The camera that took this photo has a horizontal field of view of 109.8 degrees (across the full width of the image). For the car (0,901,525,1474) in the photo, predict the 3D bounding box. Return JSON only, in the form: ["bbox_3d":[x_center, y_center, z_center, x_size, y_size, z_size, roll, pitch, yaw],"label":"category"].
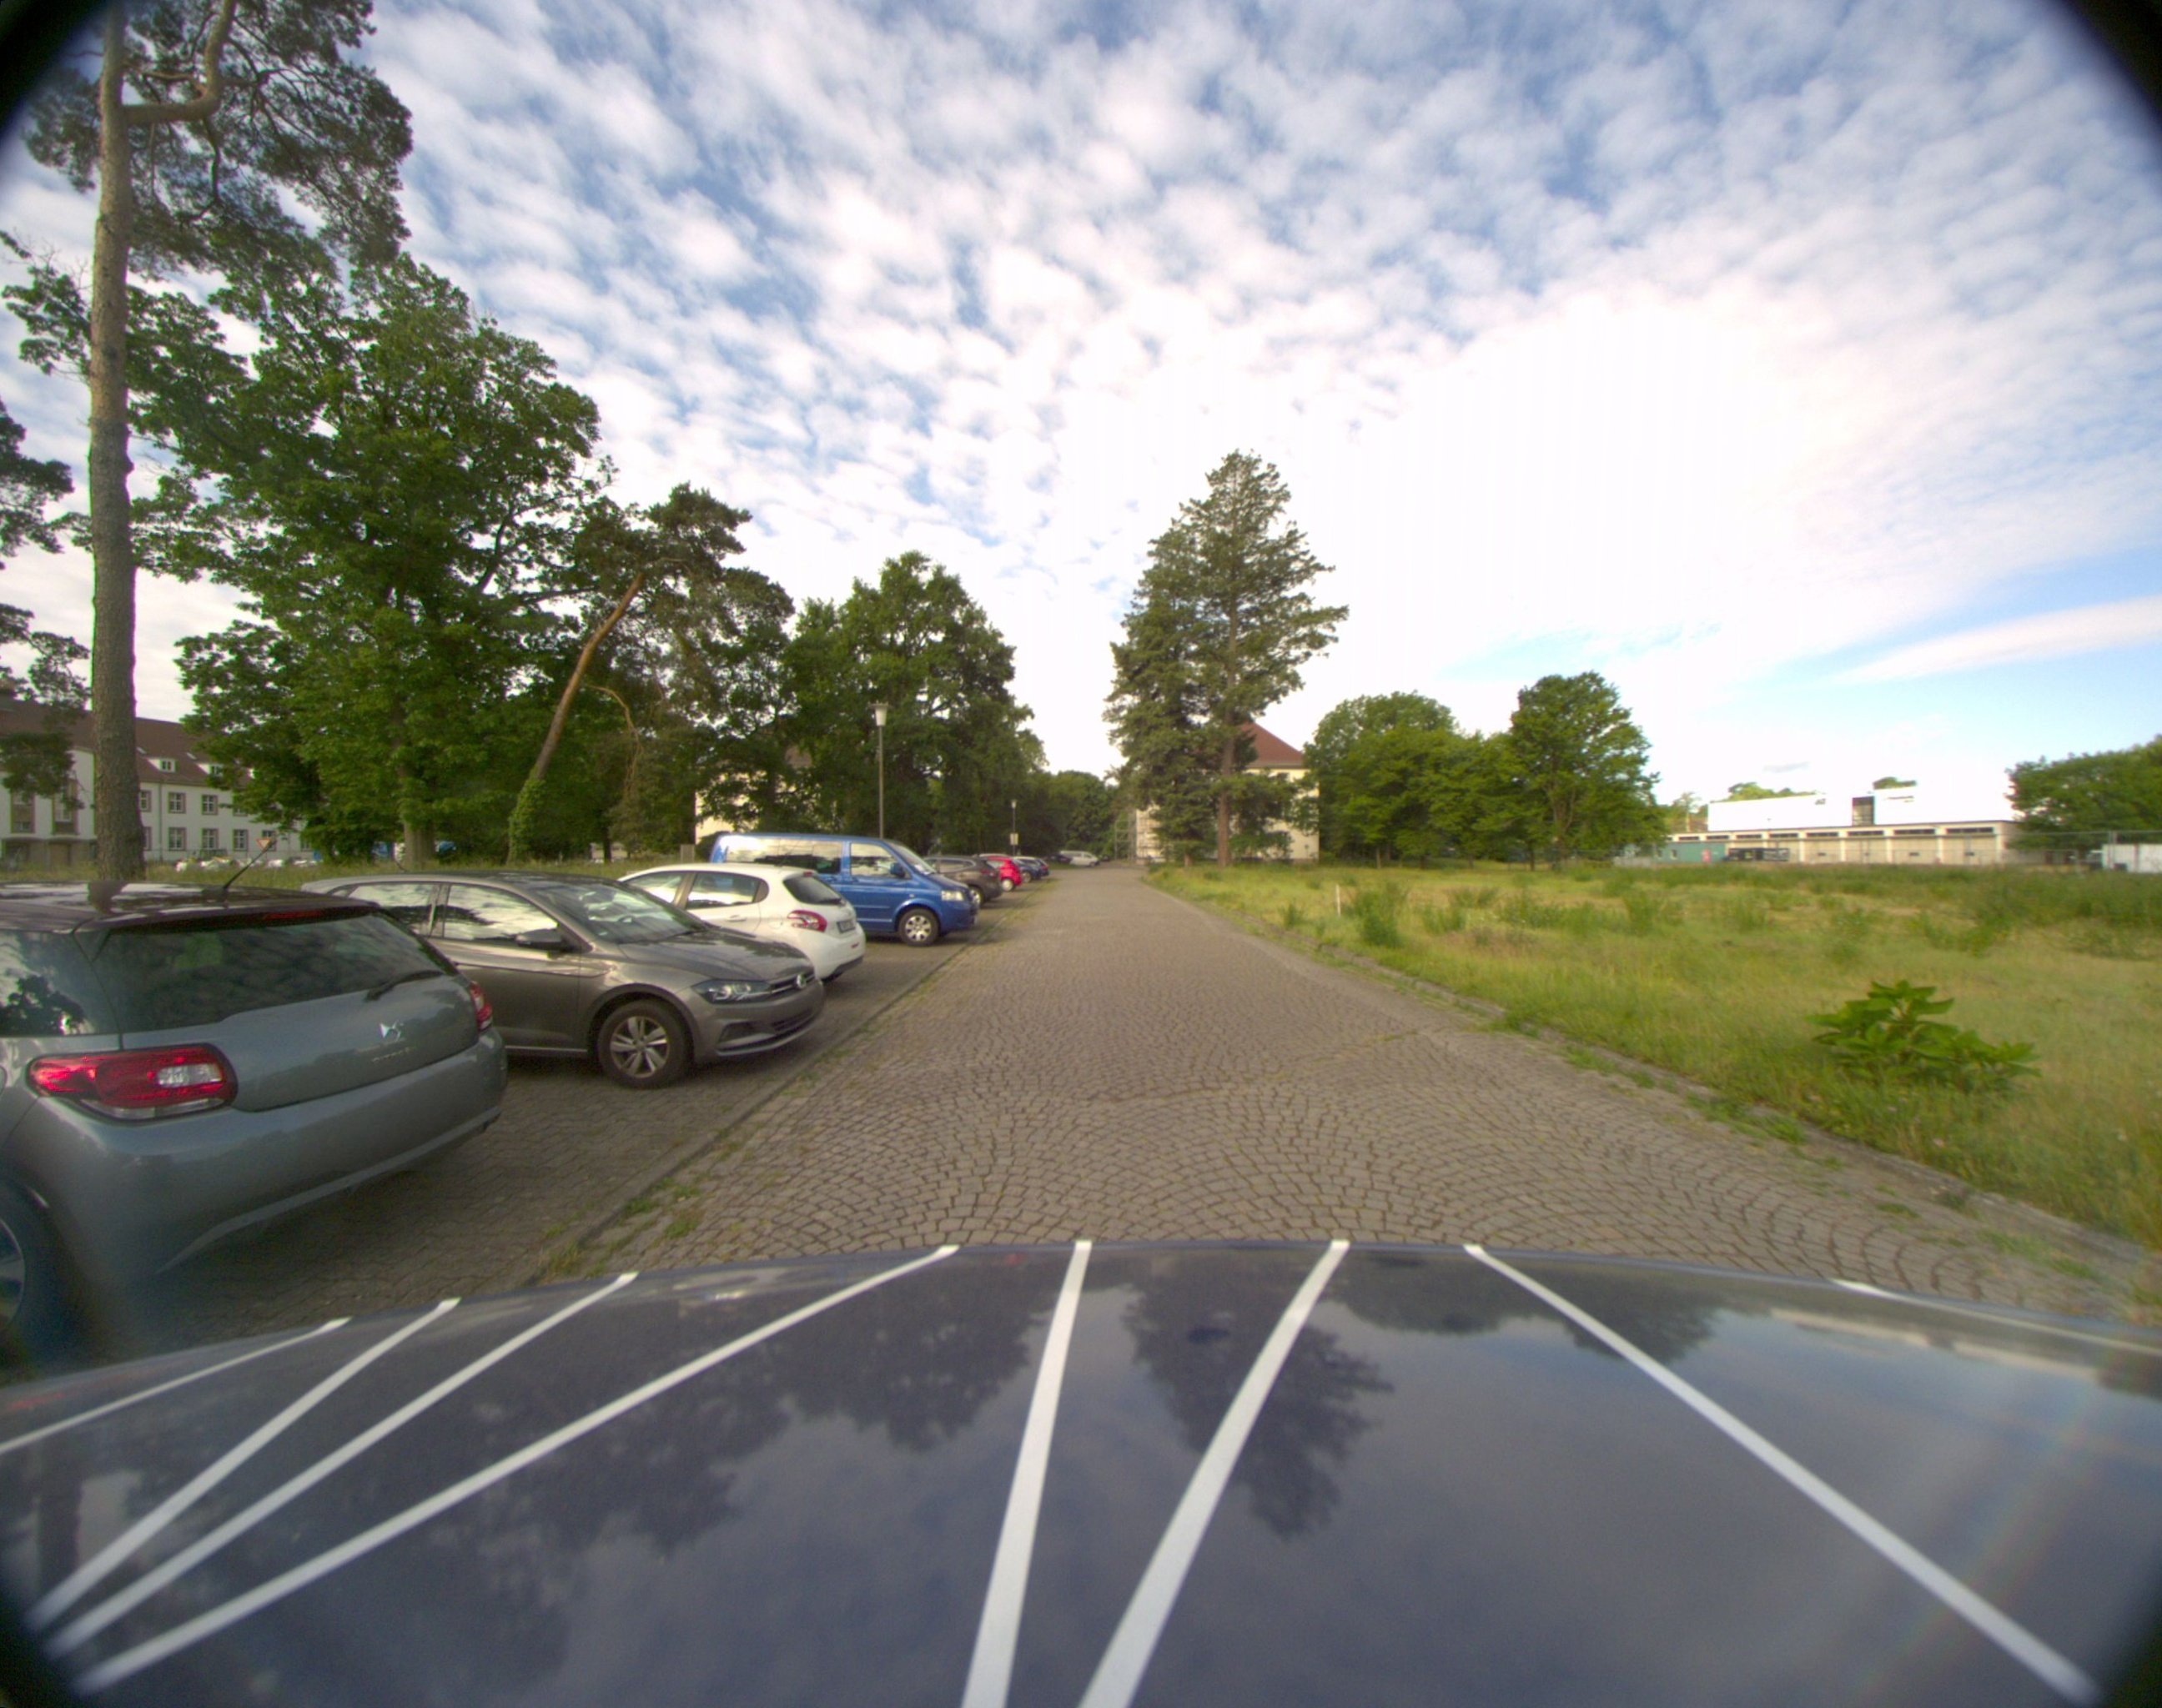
[{"bbox_3d":[-4.655,0.982,2.921,3.837,1.495,1.604,0,1,0],"label":"car"}]

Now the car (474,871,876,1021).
[{"bbox_3d":[-4.452,0.970,8.692,3.761,1.490,1.581,0,1,2],"label":"car"}]

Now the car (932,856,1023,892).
[{"bbox_3d":[-4.461,0.845,33.208,3.839,1.516,1.580,0,1,-3],"label":"car"}]

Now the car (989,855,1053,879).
[{"bbox_3d":[-3.772,0.805,48.347,3.836,1.520,1.674,0,1,5],"label":"car"}]

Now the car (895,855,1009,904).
[{"bbox_3d":[-4.303,0.830,25.714,3.634,1.592,1.580,0,0,-3],"label":"car"}]

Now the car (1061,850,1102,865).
[{"bbox_3d":[0.017,0.435,97.005,5.129,2.002,1.804,0,1,-1],"label":"car"}]

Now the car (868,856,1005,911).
[{"bbox_3d":[-4.250,0.850,22.792,3.839,1.592,1.580,0,0,-3],"label":"car"}]

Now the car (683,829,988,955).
[{"bbox_3d":[-4.375,0.649,14.145,4.953,2.011,2.060,2,1,1],"label":"car"}]

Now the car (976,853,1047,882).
[{"bbox_3d":[-3.937,0.761,43.584,3.836,1.609,1.582,0,1,5],"label":"car"}]

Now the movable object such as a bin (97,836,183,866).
[{"bbox_3d":[-89.793,-0.306,72.622,1.999,2.752,5.201,0,1,-4],"label":"movable object such as a bin"}]

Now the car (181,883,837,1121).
[{"bbox_3d":[-4.027,0.989,5.785,3.781,1.457,1.643,0,1,2],"label":"car"}]
